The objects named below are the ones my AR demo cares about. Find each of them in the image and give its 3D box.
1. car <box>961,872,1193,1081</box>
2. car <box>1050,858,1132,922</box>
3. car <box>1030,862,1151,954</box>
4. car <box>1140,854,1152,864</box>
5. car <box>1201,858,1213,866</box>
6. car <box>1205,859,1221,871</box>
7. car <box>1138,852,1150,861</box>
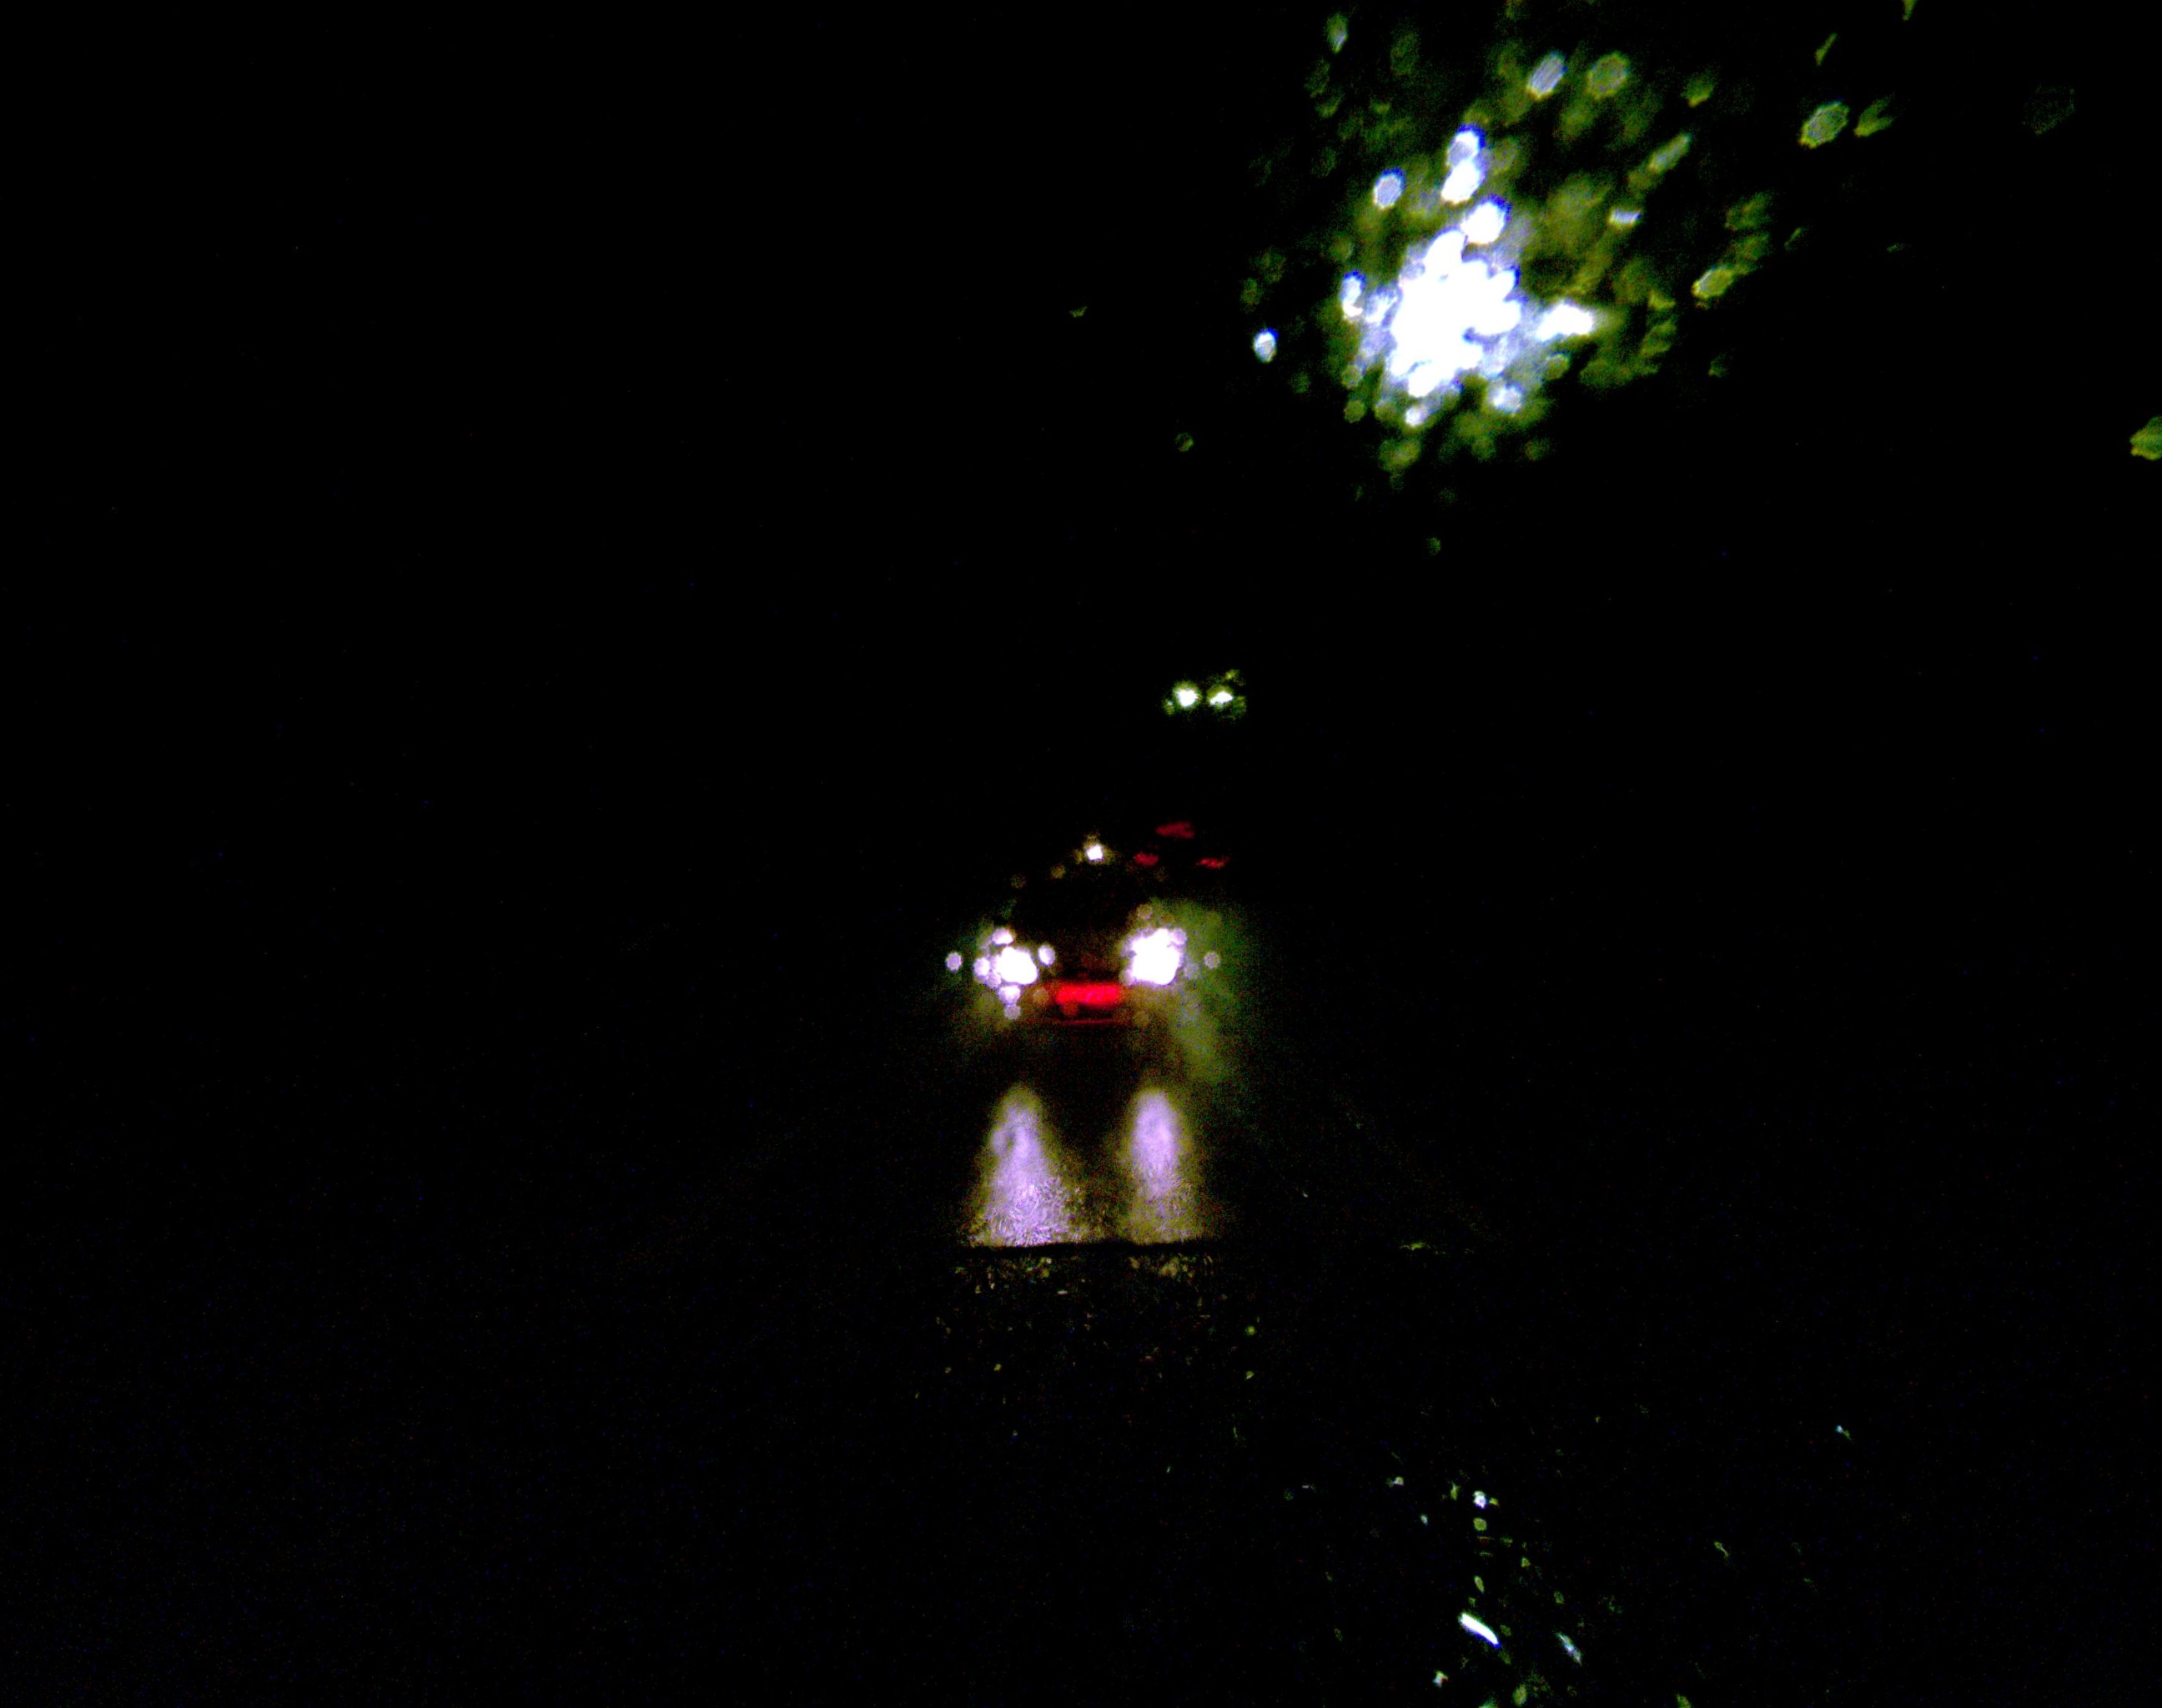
[{"bbox_3d":[-0.004,1.005,7.926,1.764,1.492,4.000,-2,0,1],"label":"car"},{"bbox_3d":[0.282,0.898,20.788,1.998,1.531,4.000,-1,0,1],"label":"car"},{"bbox_3d":[0.188,0.926,14.662,1.998,1.455,4.000,-1,0,1],"label":"car"},{"bbox_3d":[11.598,0.913,135.514,1.788,1.637,4.000,-2,0,0],"label":"car"},{"bbox_3d":[25.059,1.560,150.845,1.817,1.637,4.000,-2,0,2],"label":"car"},{"bbox_3d":[19.747,1.628,113.816,1.866,1.637,4.001,-2,0,3],"label":"car"},{"bbox_3d":[12.532,0.510,151.629,1.788,1.637,3.999,-2,0,-1],"label":"car"}]
